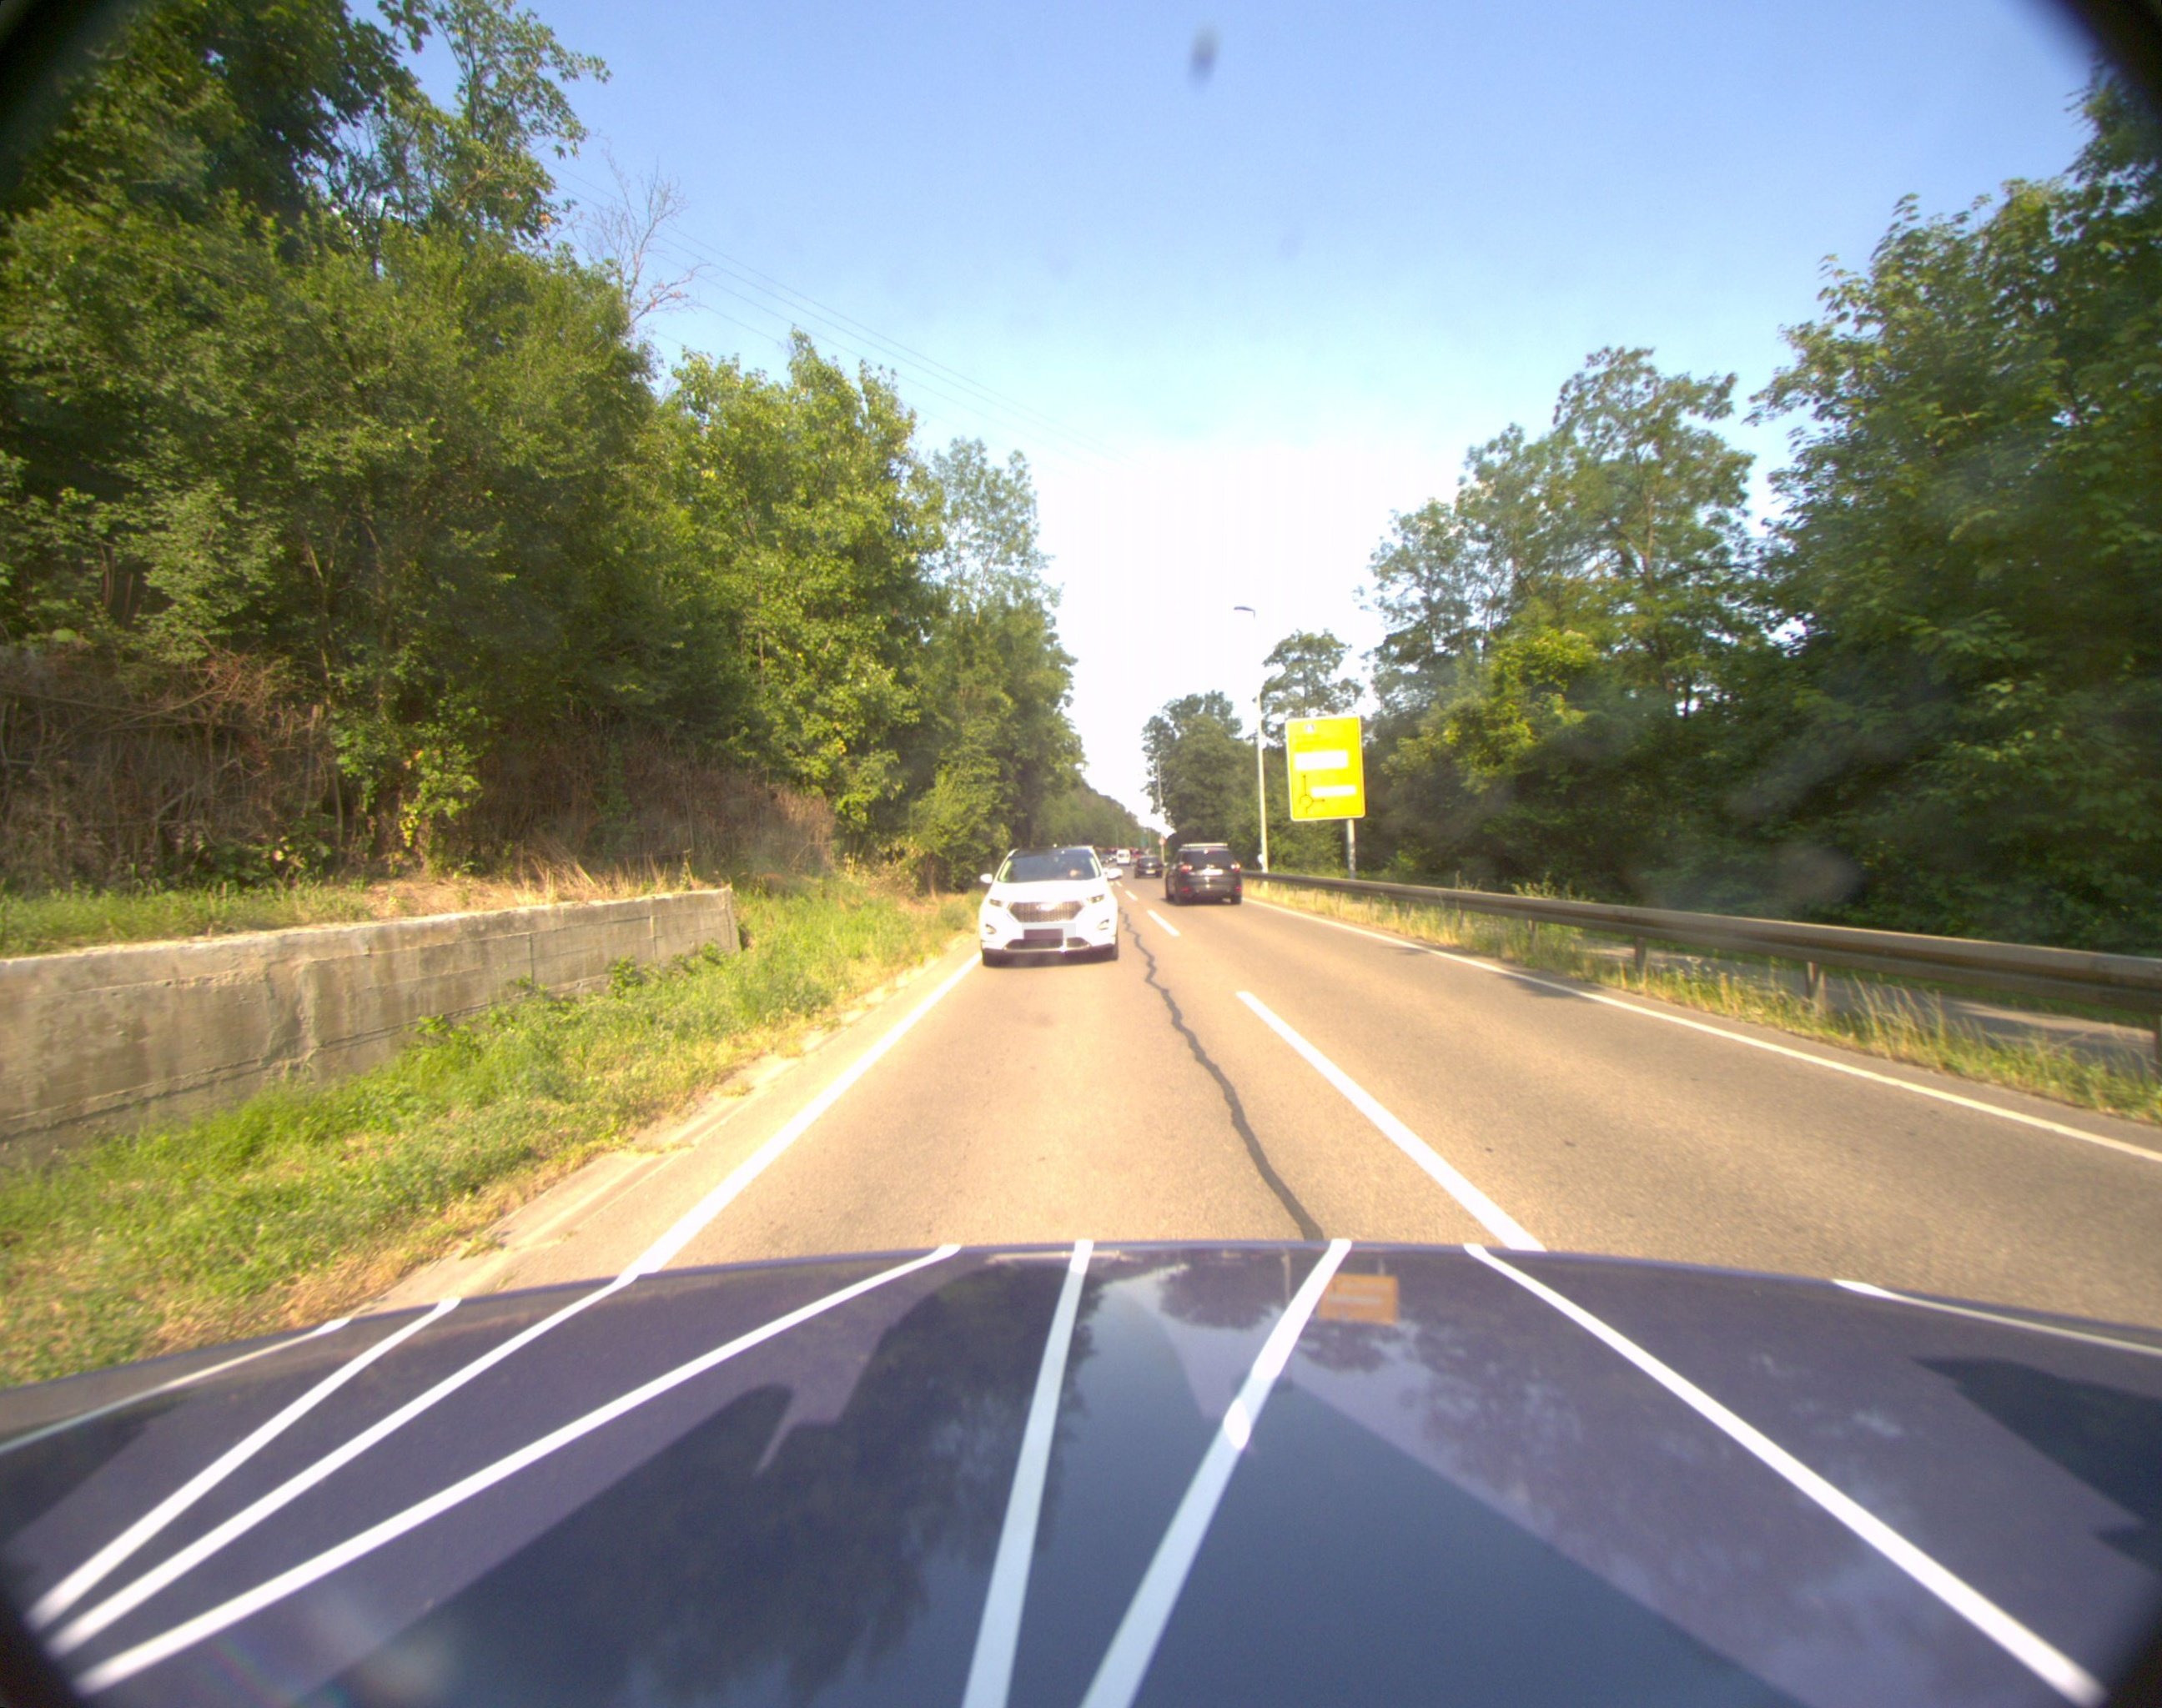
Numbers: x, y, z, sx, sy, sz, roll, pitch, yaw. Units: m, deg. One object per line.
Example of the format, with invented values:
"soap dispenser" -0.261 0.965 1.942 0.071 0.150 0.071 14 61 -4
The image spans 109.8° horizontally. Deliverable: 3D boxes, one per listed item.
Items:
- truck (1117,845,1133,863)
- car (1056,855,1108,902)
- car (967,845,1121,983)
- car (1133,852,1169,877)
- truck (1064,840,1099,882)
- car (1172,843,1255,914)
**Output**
"truck" 6.563 -0.046 111.941 2.062 2.371 5.874 -3 1 5
"car" 0.073 0.836 27.860 1.704 1.477 4.136 -2 0 1
"car" -0.443 0.769 11.875 1.894 1.691 4.136 -3 0 1
"car" 4.342 0.652 47.739 1.686 1.434 3.999 -2 1 -2
"truck" 0.046 0.397 45.722 1.894 2.334 5.273 -2 0 1
"car" 3.547 0.602 20.971 1.752 1.707 4.222 -1 0 3
